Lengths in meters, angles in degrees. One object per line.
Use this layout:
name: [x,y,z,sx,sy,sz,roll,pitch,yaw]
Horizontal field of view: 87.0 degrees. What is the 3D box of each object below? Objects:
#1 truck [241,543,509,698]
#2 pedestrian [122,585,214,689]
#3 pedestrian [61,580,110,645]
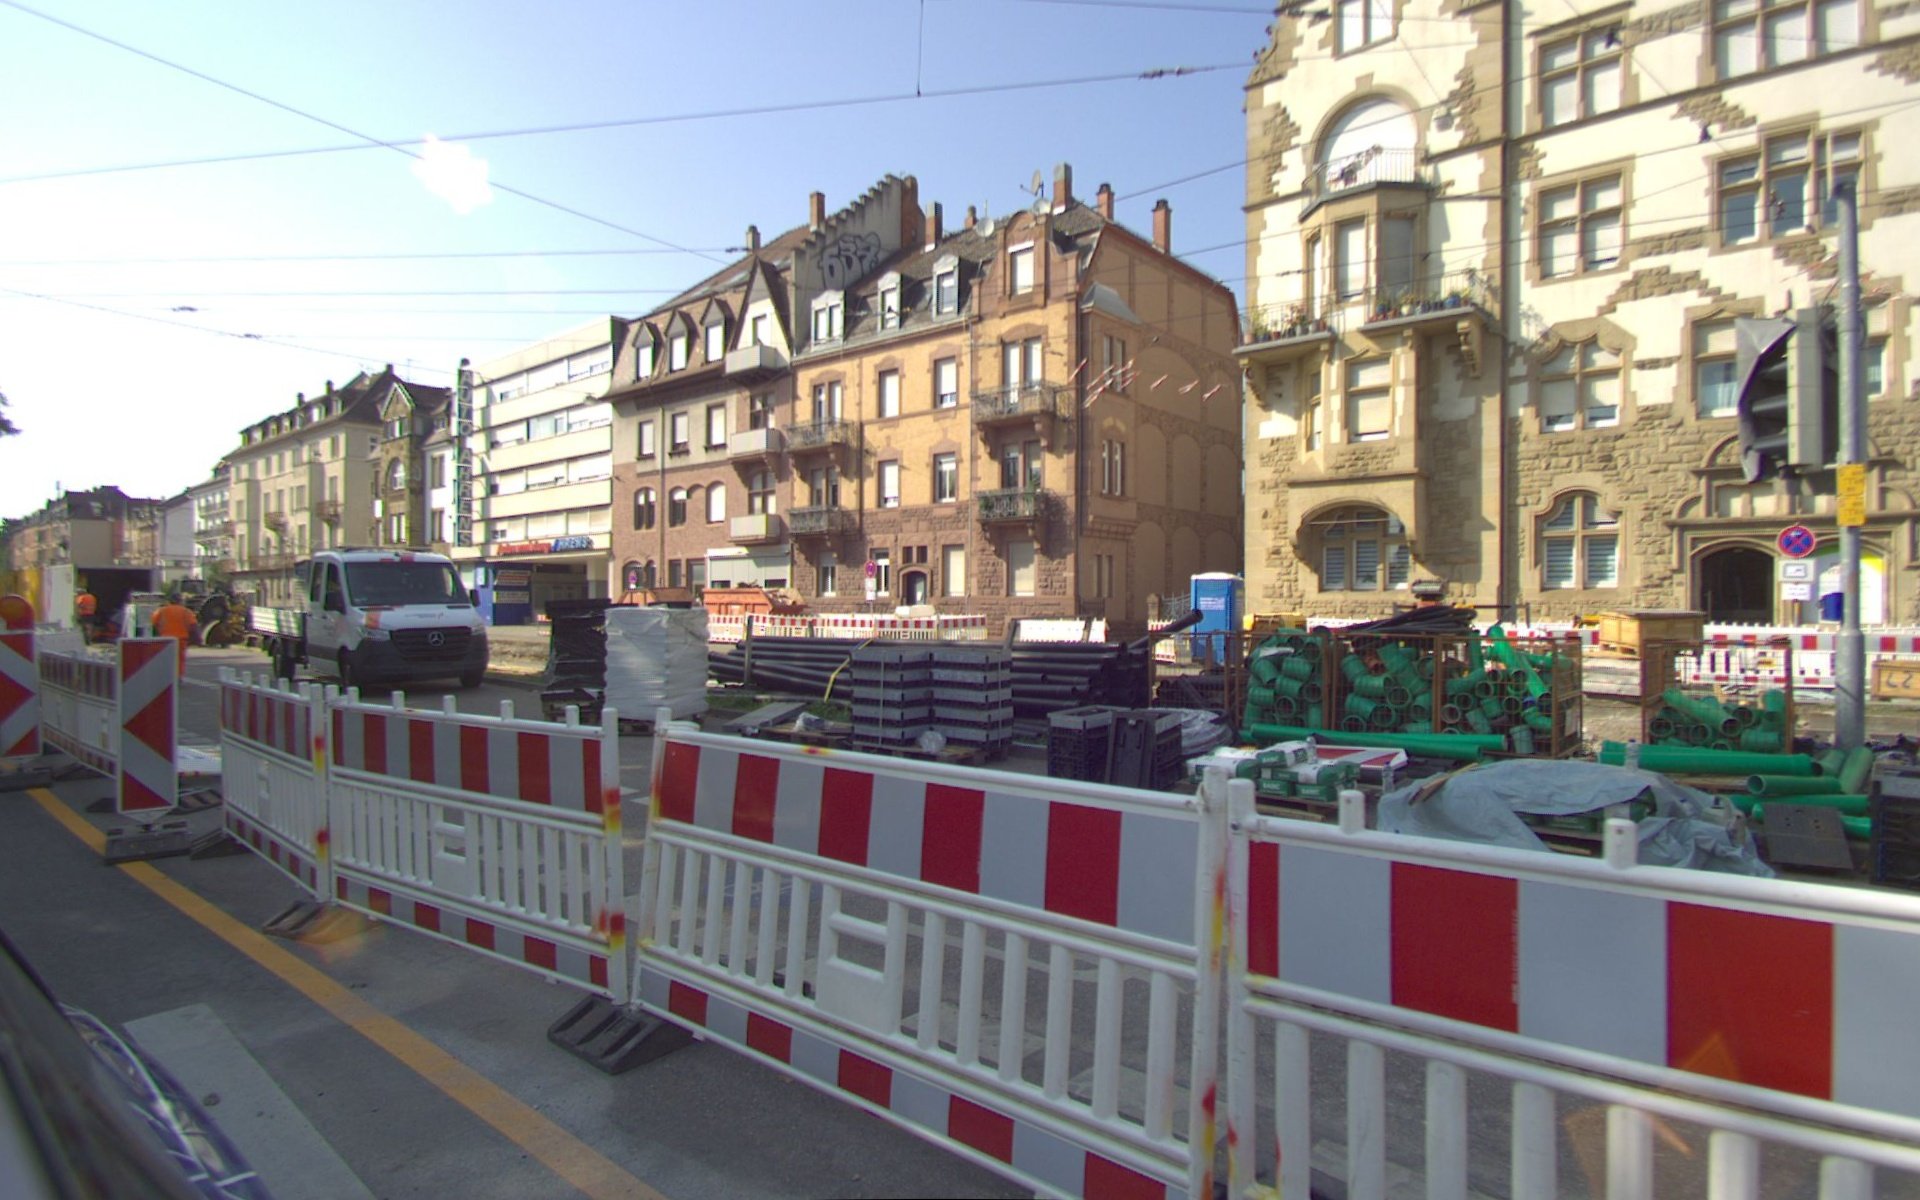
truck: [-10.494,0.326,17.790,7.051,2.239,2.134,0,-1,43]
pedestrian: [-13.714,0.616,17.530,1.095,1.723,1.021,0,-1,40]
pedestrian: [-27.756,0.379,32.136,0.896,2.028,0.915,-1,2,-23]
